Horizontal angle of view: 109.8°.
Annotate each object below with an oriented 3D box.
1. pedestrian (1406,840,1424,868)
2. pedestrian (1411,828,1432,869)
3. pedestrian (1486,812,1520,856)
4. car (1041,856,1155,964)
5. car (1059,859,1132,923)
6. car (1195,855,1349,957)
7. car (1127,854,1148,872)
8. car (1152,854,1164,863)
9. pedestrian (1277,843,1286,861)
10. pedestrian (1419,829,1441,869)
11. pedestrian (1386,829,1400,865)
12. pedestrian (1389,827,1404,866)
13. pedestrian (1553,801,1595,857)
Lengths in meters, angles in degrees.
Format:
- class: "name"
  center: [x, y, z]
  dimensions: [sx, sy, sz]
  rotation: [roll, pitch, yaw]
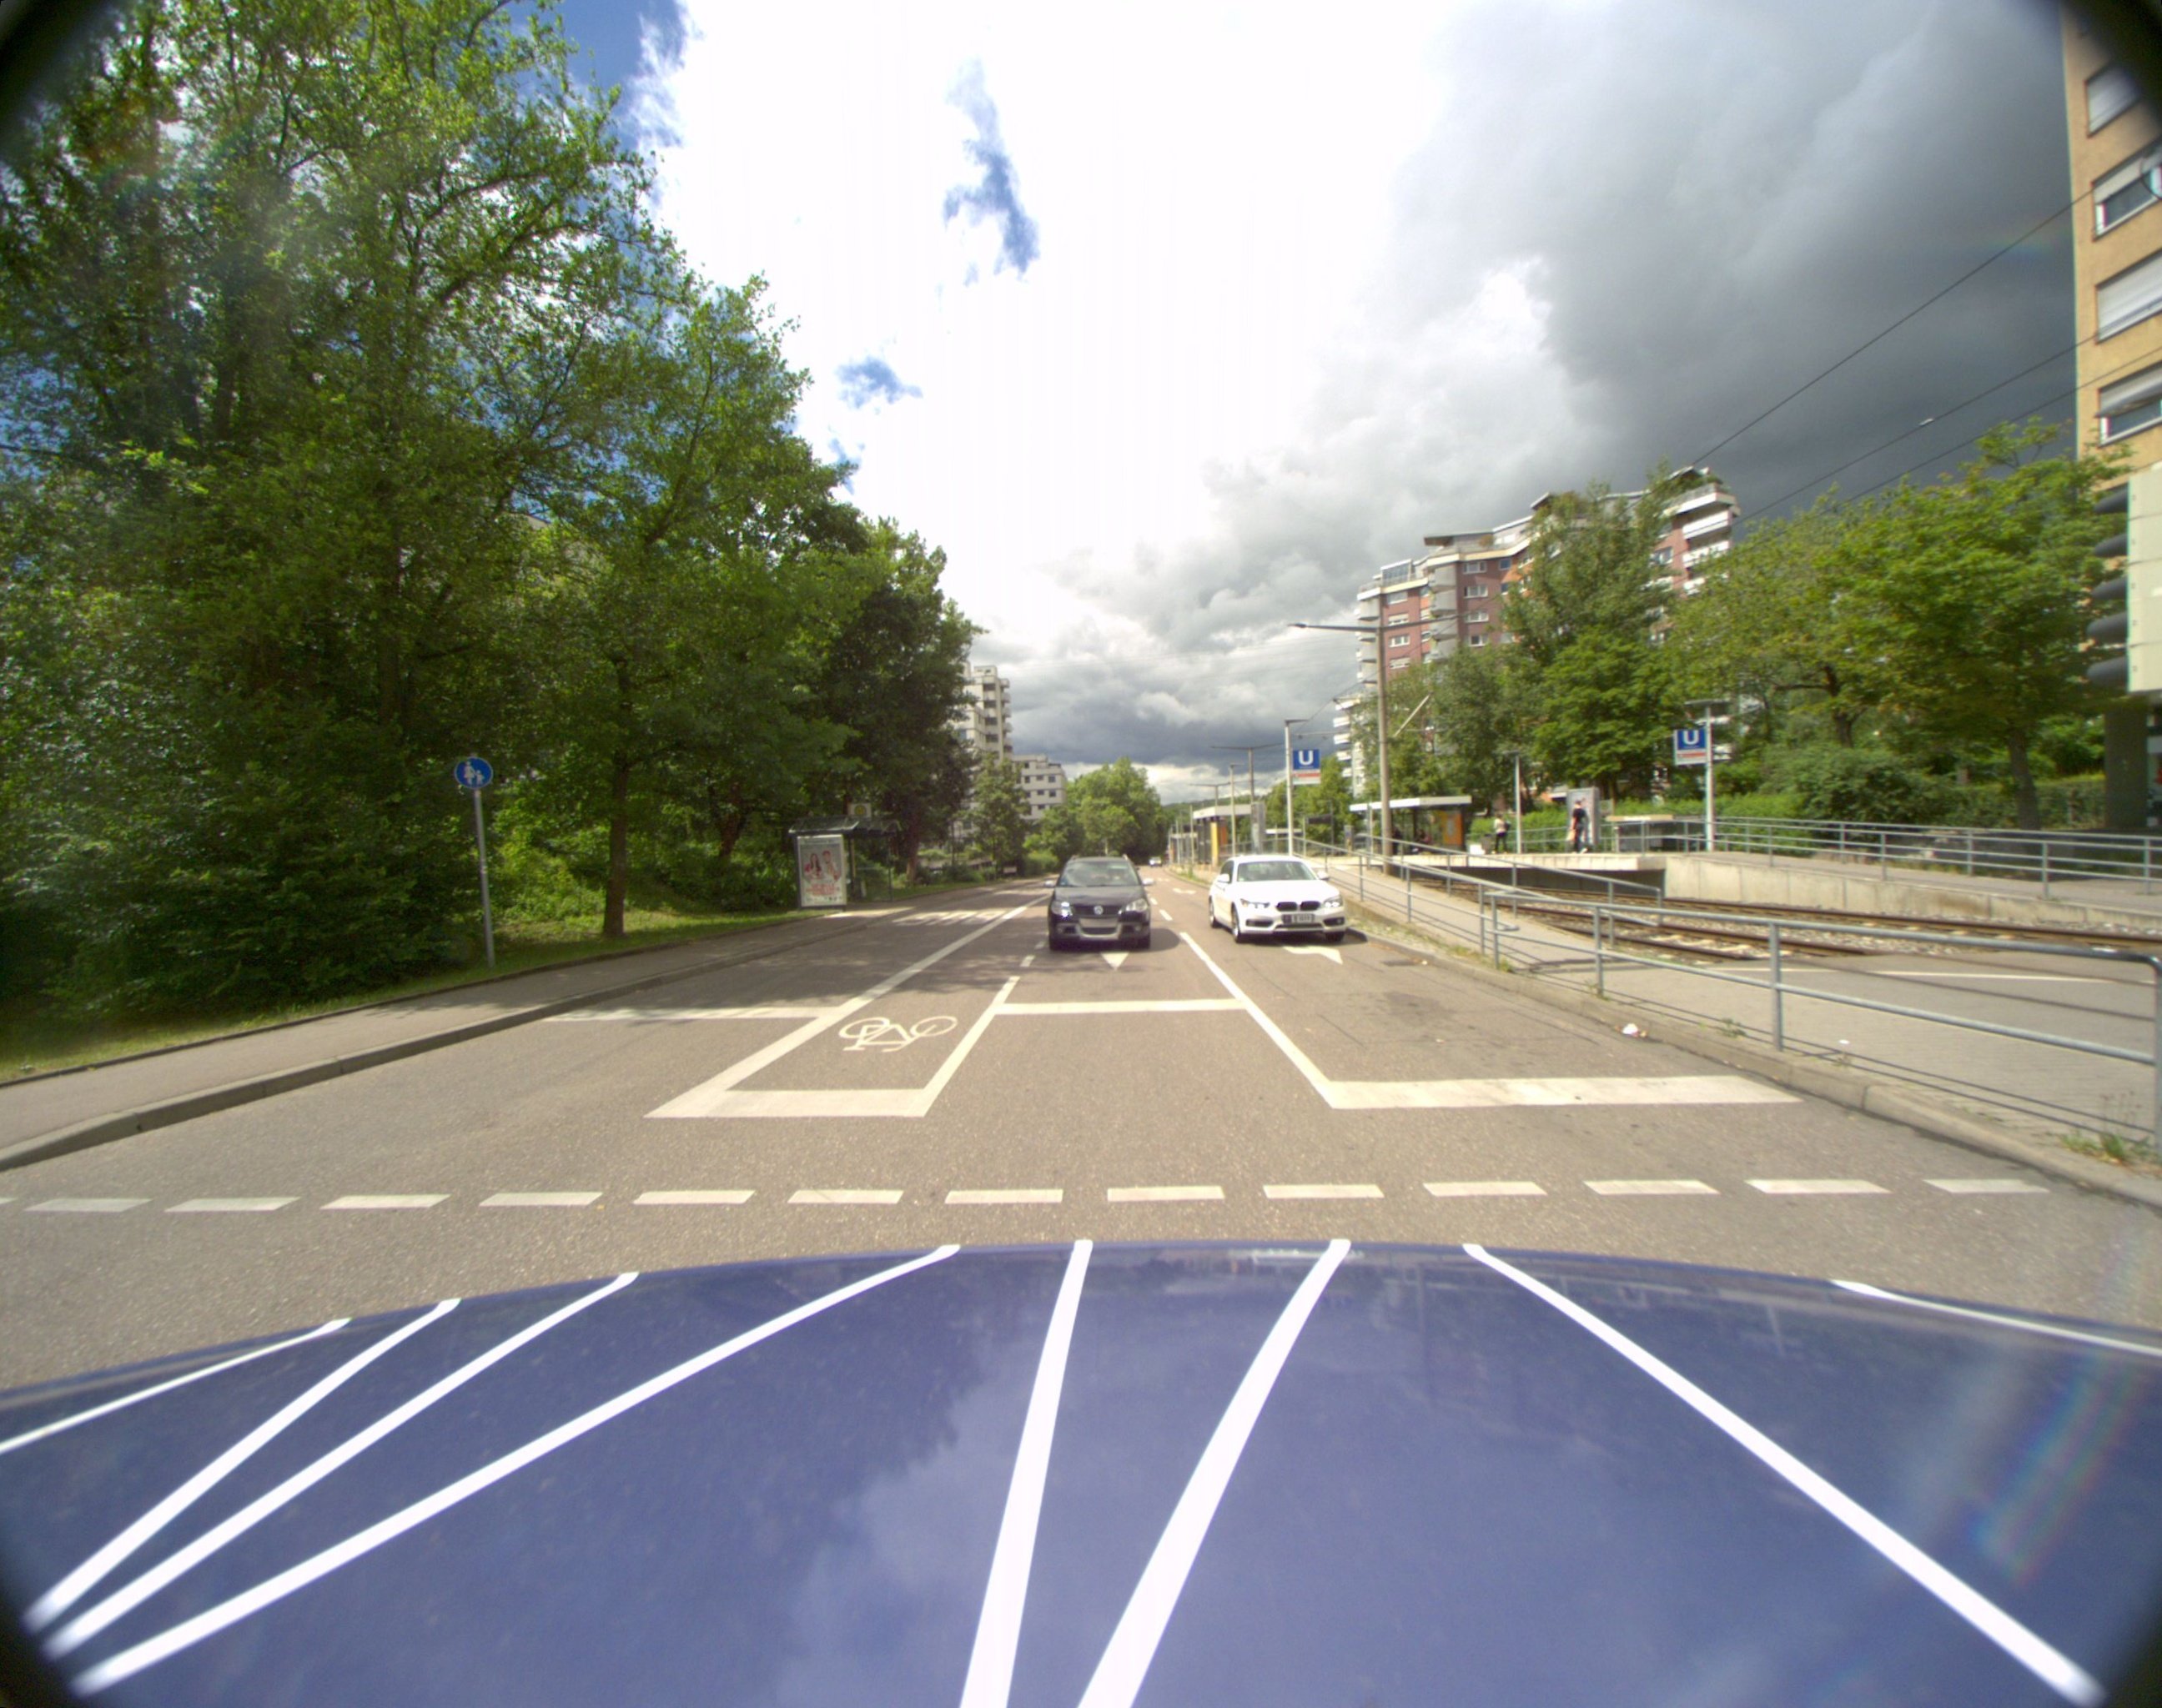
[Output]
- class: "pedestrian"
  center: [17.238, -0.002, 39.250]
  dimensions: [0.645, 1.407, 0.658]
  rotation: [-2, 1, 2]
- class: "pedestrian"
  center: [17.107, -0.285, 38.160]
  dimensions: [0.780, 2.002, 0.584]
  rotation: [-2, 1, 2]
- class: "pedestrian"
  center: [16.023, -0.753, 28.874]
  dimensions: [0.865, 1.597, 0.747]
  rotation: [-2, 1, 1]
- class: "car"
  center: [0.276, 0.854, 13.329]
  dimensions: [1.681, 1.529, 3.793]
  rotation: [-2, 1, 1]
- class: "car"
  center: [0.484, 0.945, 21.195]
  dimensions: [1.819, 1.483, 4.000]
  rotation: [-1, 1, 3]
- class: "car"
  center: [3.234, 0.801, 13.720]
  dimensions: [1.793, 1.443, 4.275]
  rotation: [-2, 1, 2]
- class: "car"
  center: [5.082, 0.767, 67.931]
  dimensions: [1.845, 1.409, 4.001]
  rotation: [-2, 1, 5]
- class: "car"
  center: [11.529, 0.700, 114.165]
  dimensions: [1.805, 1.208, 4.022]
  rotation: [-2, 1, 5]
- class: "pedestrian"
  center: [19.813, -0.223, 75.213]
  dimensions: [0.774, 1.696, 0.766]
  rotation: [-2, 1, 10]
- class: "pedestrian"
  center: [17.102, -0.248, 37.274]
  dimensions: [0.771, 1.920, 0.573]
  rotation: [-2, 1, 0]
- class: "pedestrian"
  center: [17.497, -0.383, 42.620]
  dimensions: [0.517, 2.002, 0.558]
  rotation: [-2, 1, 2]
- class: "pedestrian"
  center: [17.479, -0.419, 42.103]
  dimensions: [0.532, 2.129, 0.608]
  rotation: [-2, 1, 5]
- class: "pedestrian"
  center: [16.113, -0.812, 24.848]
  dimensions: [0.865, 1.763, 0.747]
  rotation: [-2, 1, 1]
